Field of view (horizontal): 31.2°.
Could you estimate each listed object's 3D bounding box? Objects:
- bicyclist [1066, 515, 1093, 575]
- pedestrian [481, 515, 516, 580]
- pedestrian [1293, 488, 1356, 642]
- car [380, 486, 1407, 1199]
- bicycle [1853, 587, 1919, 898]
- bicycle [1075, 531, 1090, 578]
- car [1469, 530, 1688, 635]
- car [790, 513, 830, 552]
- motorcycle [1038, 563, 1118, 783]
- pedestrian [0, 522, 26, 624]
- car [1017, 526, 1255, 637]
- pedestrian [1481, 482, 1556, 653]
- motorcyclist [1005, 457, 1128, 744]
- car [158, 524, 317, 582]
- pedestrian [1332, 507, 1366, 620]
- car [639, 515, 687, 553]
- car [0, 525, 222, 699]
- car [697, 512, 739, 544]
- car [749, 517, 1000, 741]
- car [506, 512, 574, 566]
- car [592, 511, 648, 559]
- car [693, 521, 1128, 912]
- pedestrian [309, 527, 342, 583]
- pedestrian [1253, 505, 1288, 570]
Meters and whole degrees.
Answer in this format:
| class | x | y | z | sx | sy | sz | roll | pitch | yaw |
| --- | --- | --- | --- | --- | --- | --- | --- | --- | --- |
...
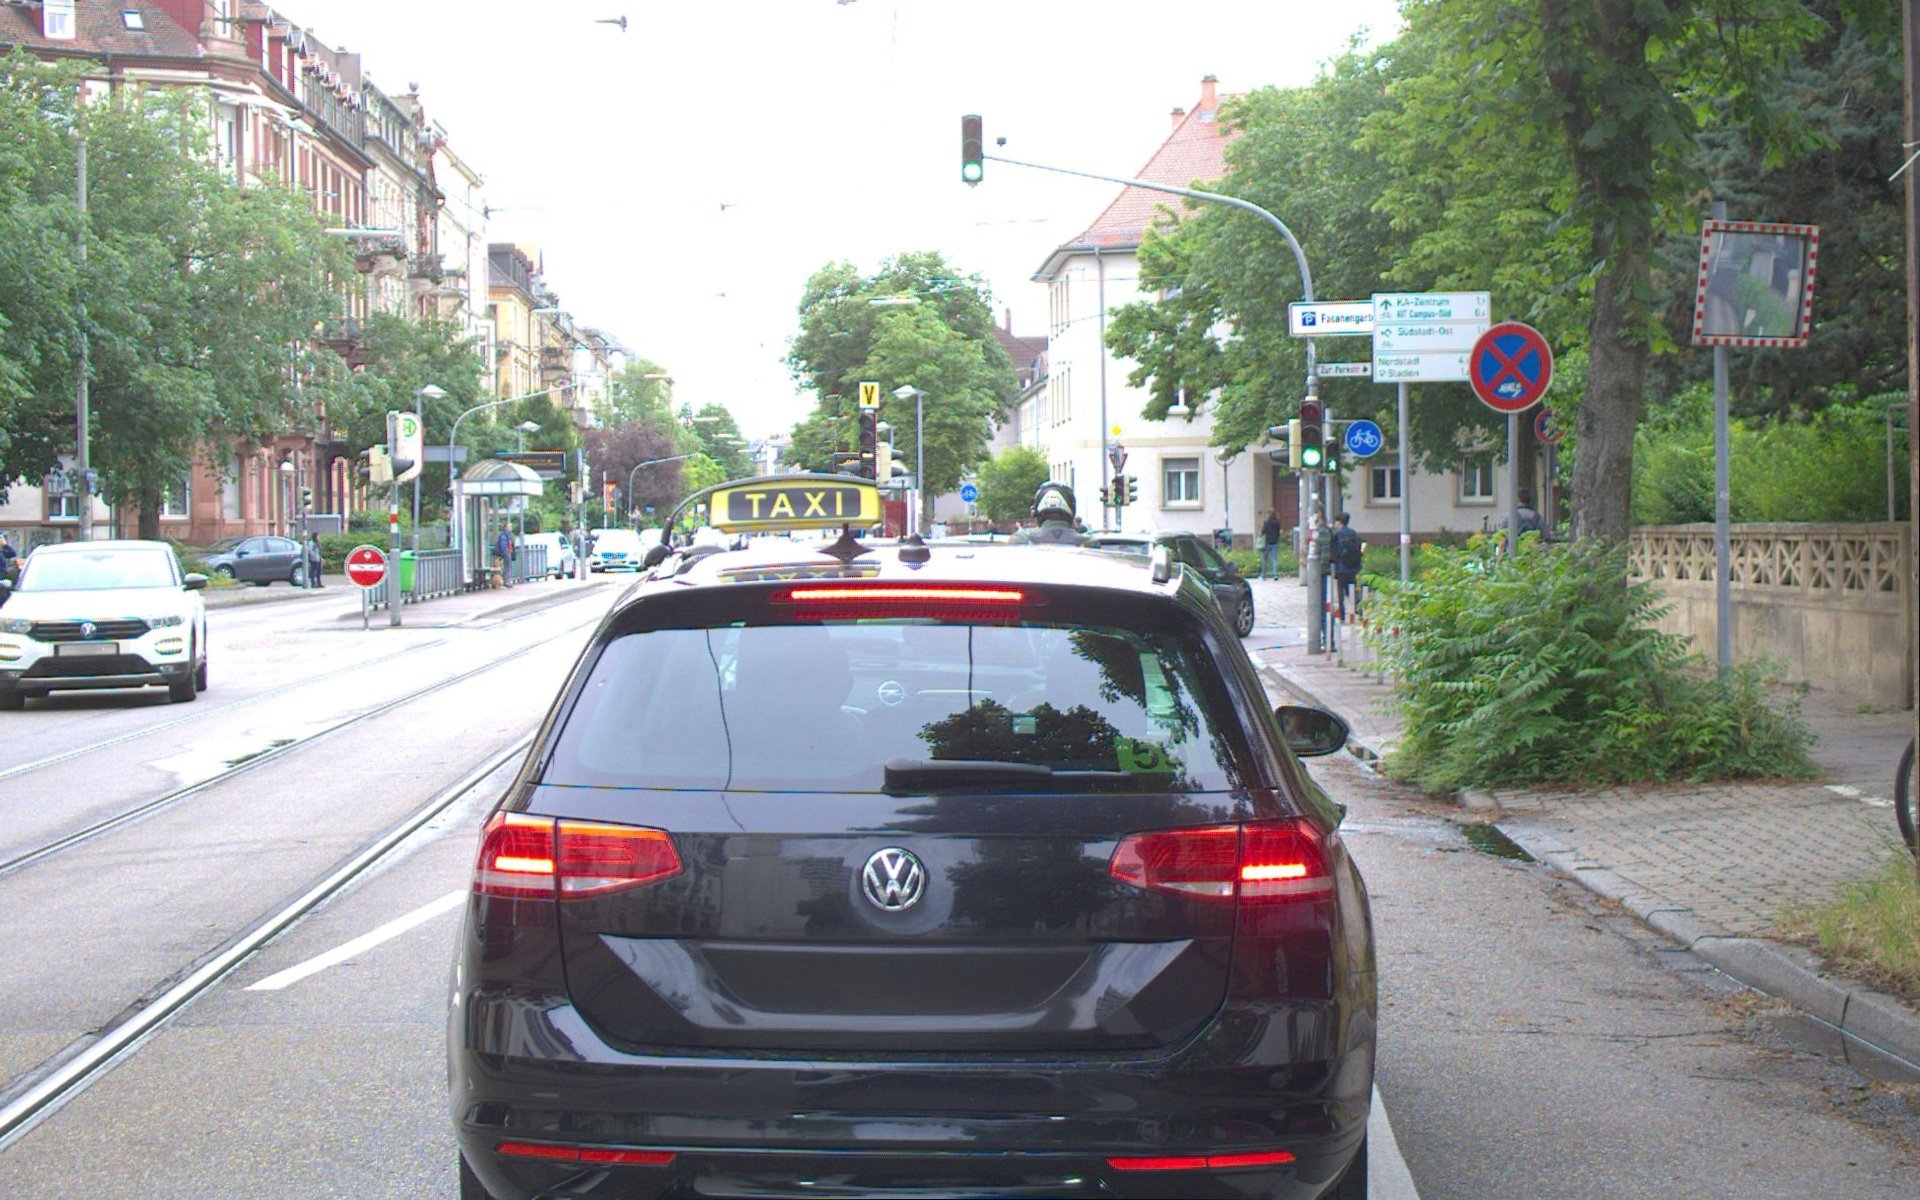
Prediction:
| class | x | y | z | sx | sy | sz | roll | pitch | yaw |
| --- | --- | --- | --- | --- | --- | --- | --- | --- | --- |
| bicyclist | 3.169 | -1.456 | 90.907 | 0.651 | 1.563 | 0.695 | -1 | 1 | 5 |
| pedestrian | -10.773 | -1.230 | 80.275 | 0.714 | 1.515 | 0.590 | -1 | 1 | 0 |
| pedestrian | 4.445 | -0.428 | 41.918 | 0.585 | 1.824 | 0.604 | -4 | 1 | -1 |
| car | -0.173 | 0.530 | 7.789 | 1.723 | 1.541 | 4.001 | 0 | 1 | -2 |
| bicycle | 4.293 | 0.545 | 13.935 | 0.433 | 1.194 | 1.899 | 0 | 0 | 44 |
| bicycle | 3.239 | -1.204 | 90.922 | 0.297 | 1.219 | 1.430 | -1 | 1 | 5 |
| car | 9.760 | -0.292 | 54.046 | 1.997 | 1.572 | 3.993 | 1 | 1 | 33 |
| car | -7.795 | -3.490 | 178.562 | 2.032 | 2.007 | 4.000 | 0 | 1 | -2 |
| motorcycle | 0.698 | 0.407 | 20.678 | 0.446 | 1.231 | 1.907 | -1 | 1 | 1 |
| pedestrian | -15.838 | -0.442 | 56.414 | 0.836 | 1.657 | 0.591 | -1 | 1 | 0 |
| car | 2.463 | -0.275 | 47.135 | 1.894 | 1.403 | 3.995 | 0 | 2 | 25 |
| pedestrian | 6.005 | -0.356 | 36.971 | 0.632 | 1.808 | 0.726 | -1 | 1 | -4 |
| motorcyclist | 0.638 | -0.007 | 20.658 | 0.703 | 1.686 | 0.804 | -1 | 1 | 1 |
| car | -20.862 | -1.368 | 99.308 | 3.989 | 1.590 | 1.999 | -2 | 2 | -41 |
| pedestrian | 6.419 | -0.605 | 56.719 | 0.417 | 1.824 | 0.516 | -3 | 1 | 8 |
| car | -11.885 | -2.654 | 137.667 | 1.721 | 1.459 | 3.864 | -1 | 1 | -2 |
| car | -8.037 | 0.067 | 32.503 | 1.698 | 1.491 | 3.932 | -2 | 1 | -7 |
| car | -12.251 | -3.666 | 174.290 | 1.795 | 1.590 | 4.000 | -1 | 1 | 1 |
| car | -0.654 | 0.152 | 25.671 | 1.723 | 1.541 | 4.001 | 0 | 1 | -2 |
| car | -12.871 | -1.885 | 105.497 | 1.721 | 1.617 | 3.864 | -1 | 1 | -2 |
| car | -11.984 | -2.310 | 121.456 | 1.721 | 1.617 | 3.864 | -1 | 1 | -2 |
| car | -0.260 | 0.415 | 15.622 | 1.723 | 1.541 | 4.001 | 0 | 1 | -2 |
| pedestrian | -17.421 | -1.232 | 94.369 | 0.589 | 1.515 | 0.648 | 0 | 1 | 34 |
| pedestrian | 7.410 | -1.486 | 82.001 | 0.608 | 1.548 | 0.583 | -1 | 2 | -41 |
